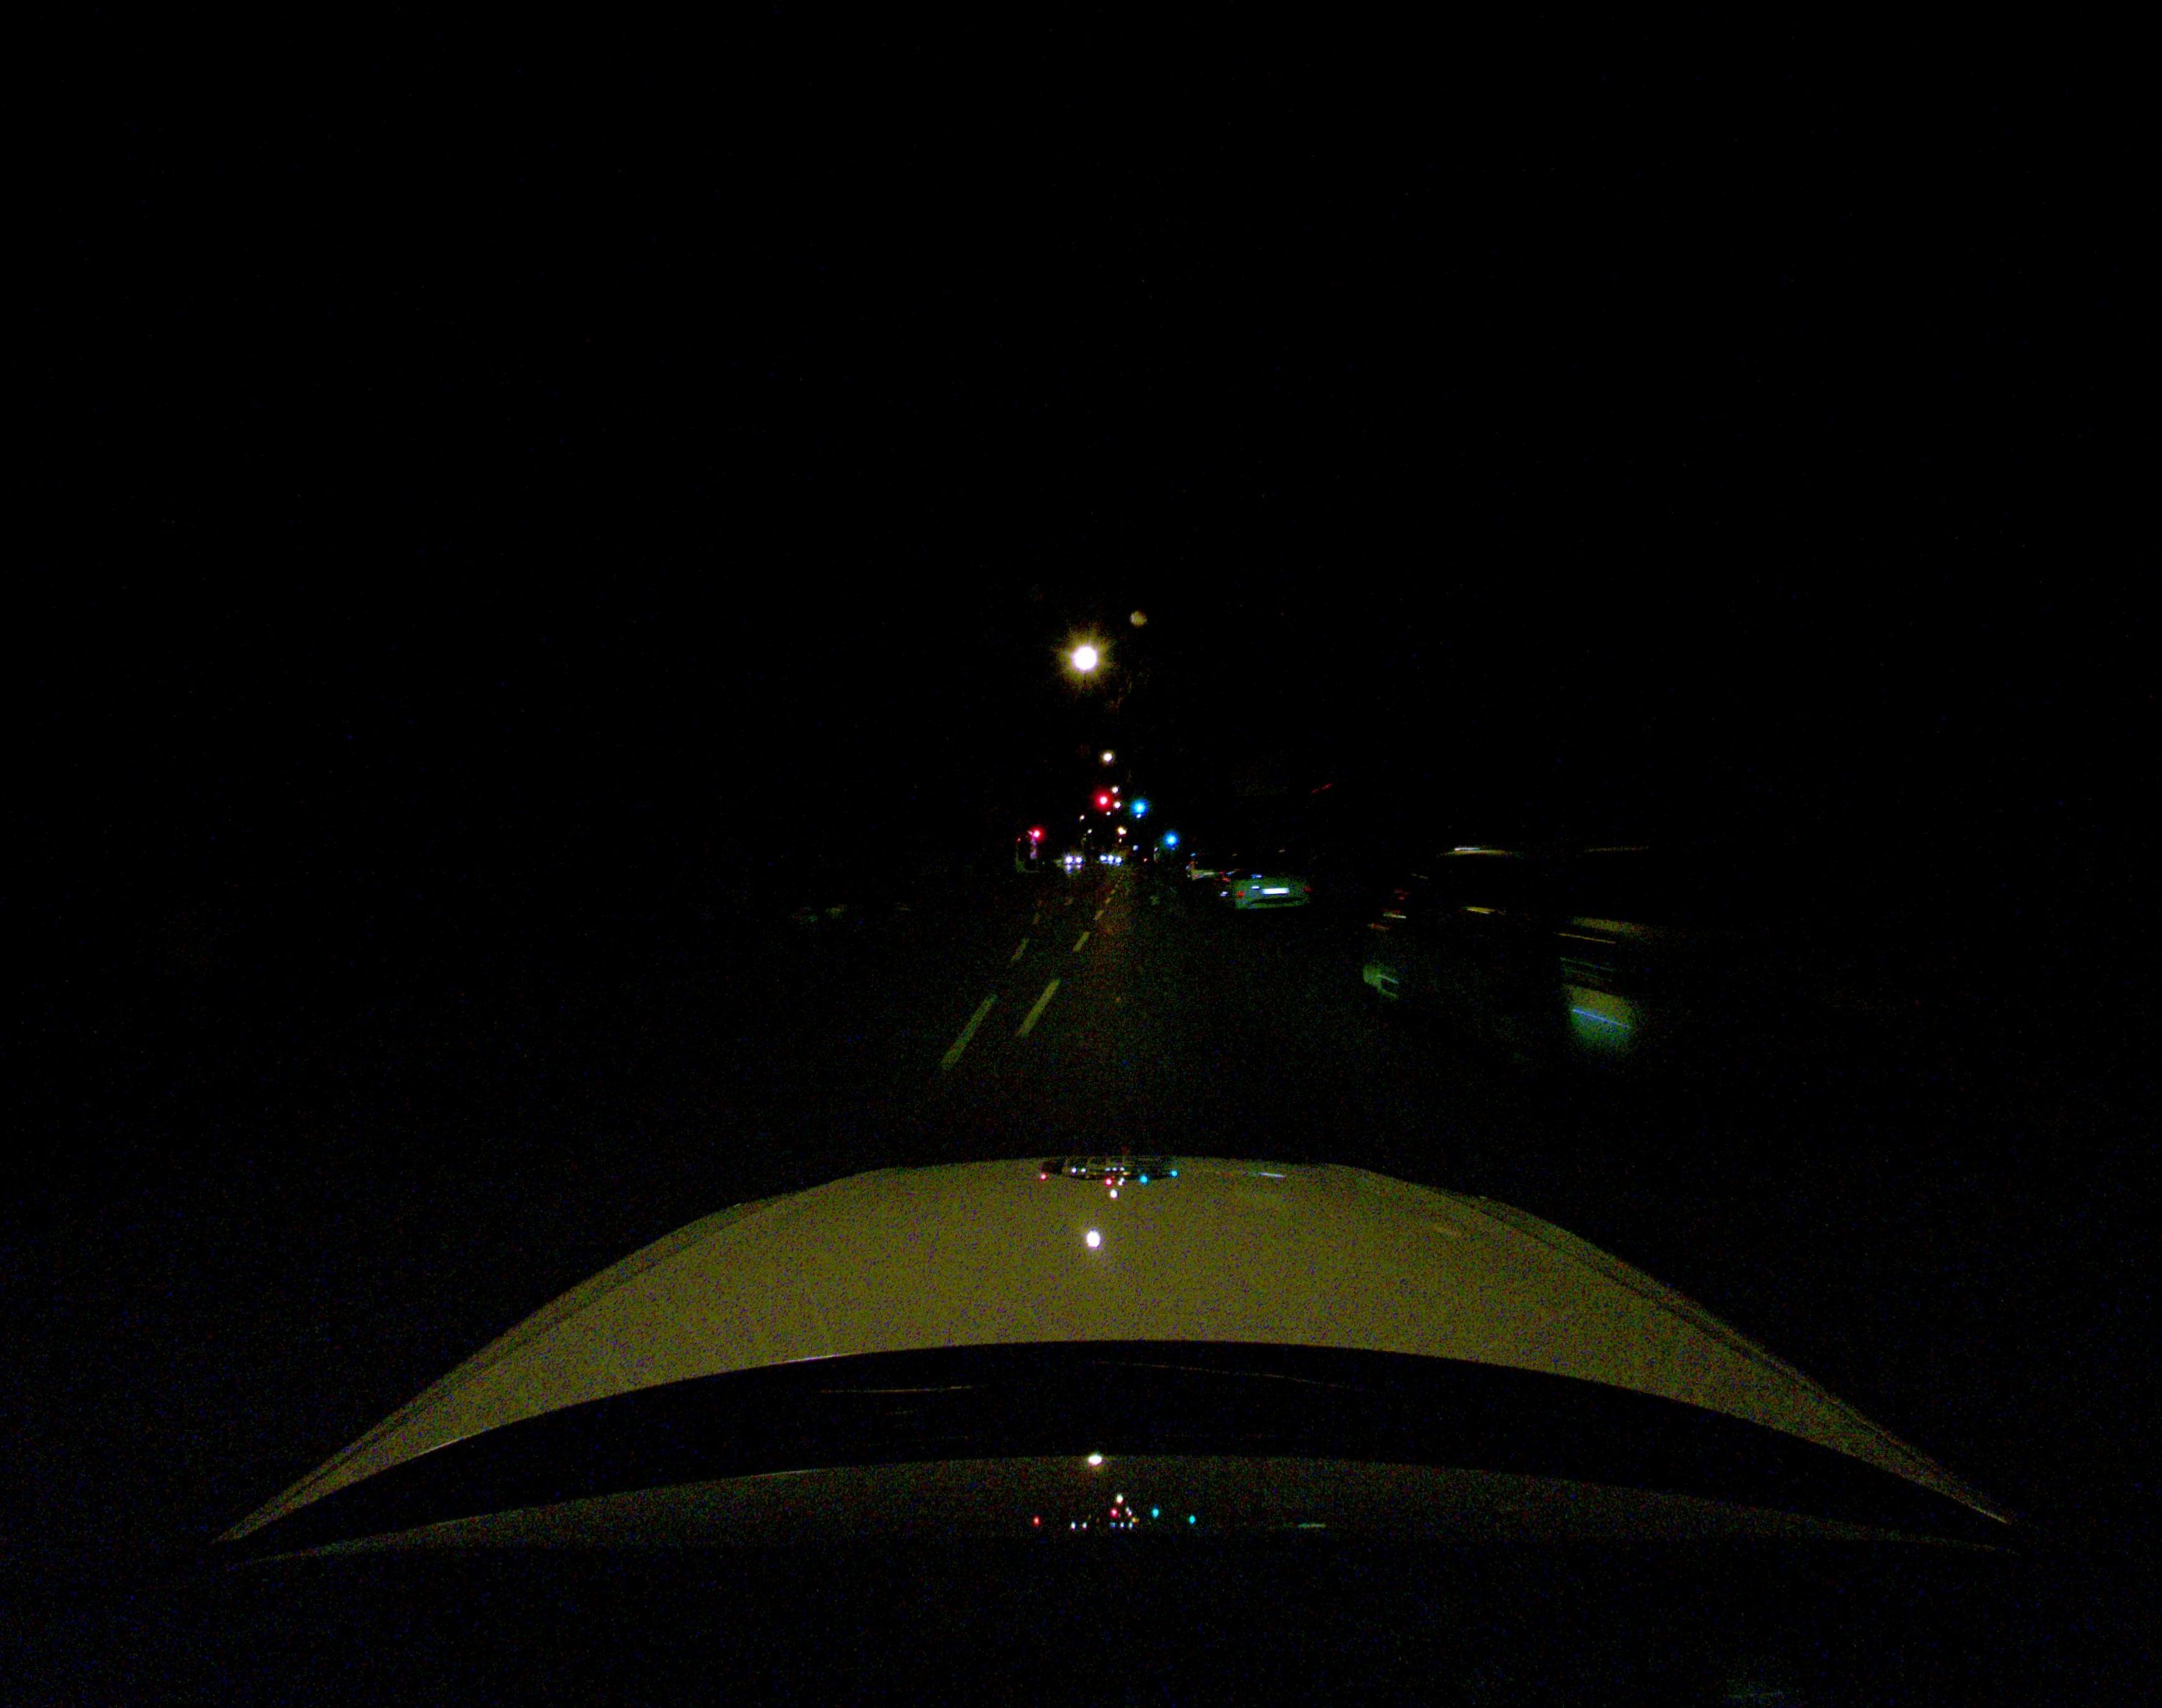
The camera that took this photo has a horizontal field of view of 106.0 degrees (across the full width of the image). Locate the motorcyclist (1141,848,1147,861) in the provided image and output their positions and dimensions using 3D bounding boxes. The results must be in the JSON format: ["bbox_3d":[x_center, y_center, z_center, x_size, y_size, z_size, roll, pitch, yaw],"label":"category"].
[{"bbox_3d":[8.602,0.090,111.057,0.845,1.752,0.806,0,-1,3],"label":"motorcyclist"}]

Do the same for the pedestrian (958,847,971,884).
[{"bbox_3d":[-5.515,0.542,38.476,0.569,1.700,0.927,0,-1,-6],"label":"pedestrian"}]

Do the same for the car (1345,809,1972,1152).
[{"bbox_3d":[3.491,0.605,6.102,1.804,1.594,4.277,-3,0,3],"label":"car"}]

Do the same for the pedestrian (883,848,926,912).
[{"bbox_3d":[-4.803,0.687,22.195,0.758,1.699,0.931,2,0,17],"label":"pedestrian"}]

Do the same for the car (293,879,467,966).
[{"bbox_3d":[-13.536,1.228,15.703,3.224,1.453,1.806,-1,-1,35],"label":"car"}]

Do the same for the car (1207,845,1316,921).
[{"bbox_3d":[4.173,0.606,19.450,1.861,1.526,4.153,-3,0,3],"label":"car"}]

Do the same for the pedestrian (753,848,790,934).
[{"bbox_3d":[-6.219,0.737,16.385,0.580,1.700,0.530,0,-1,-5],"label":"pedestrian"}]

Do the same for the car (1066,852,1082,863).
[{"bbox_3d":[-0.908,0.448,103.676,1.708,1.457,3.926,-1,-1,3],"label":"car"}]

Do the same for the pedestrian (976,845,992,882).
[{"bbox_3d":[-4.641,0.461,38.965,0.717,1.765,0.602,0,-1,-5],"label":"pedestrian"}]

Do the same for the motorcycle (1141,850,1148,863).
[{"bbox_3d":[8.606,0.293,111.052,0.927,1.752,2.627,-1,-1,4],"label":"motorcycle"}]

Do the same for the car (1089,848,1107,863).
[{"bbox_3d":[2.089,0.210,97.717,1.936,1.717,4.003,-1,-1,3],"label":"car"}]

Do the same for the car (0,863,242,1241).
[{"bbox_3d":[-5.085,0.809,1.625,1.714,1.437,4.813,0,1,2],"label":"car"}]

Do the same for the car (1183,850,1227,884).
[{"bbox_3d":[5.840,0.592,38.654,1.623,1.496,3.416,0,0,2],"label":"car"}]
